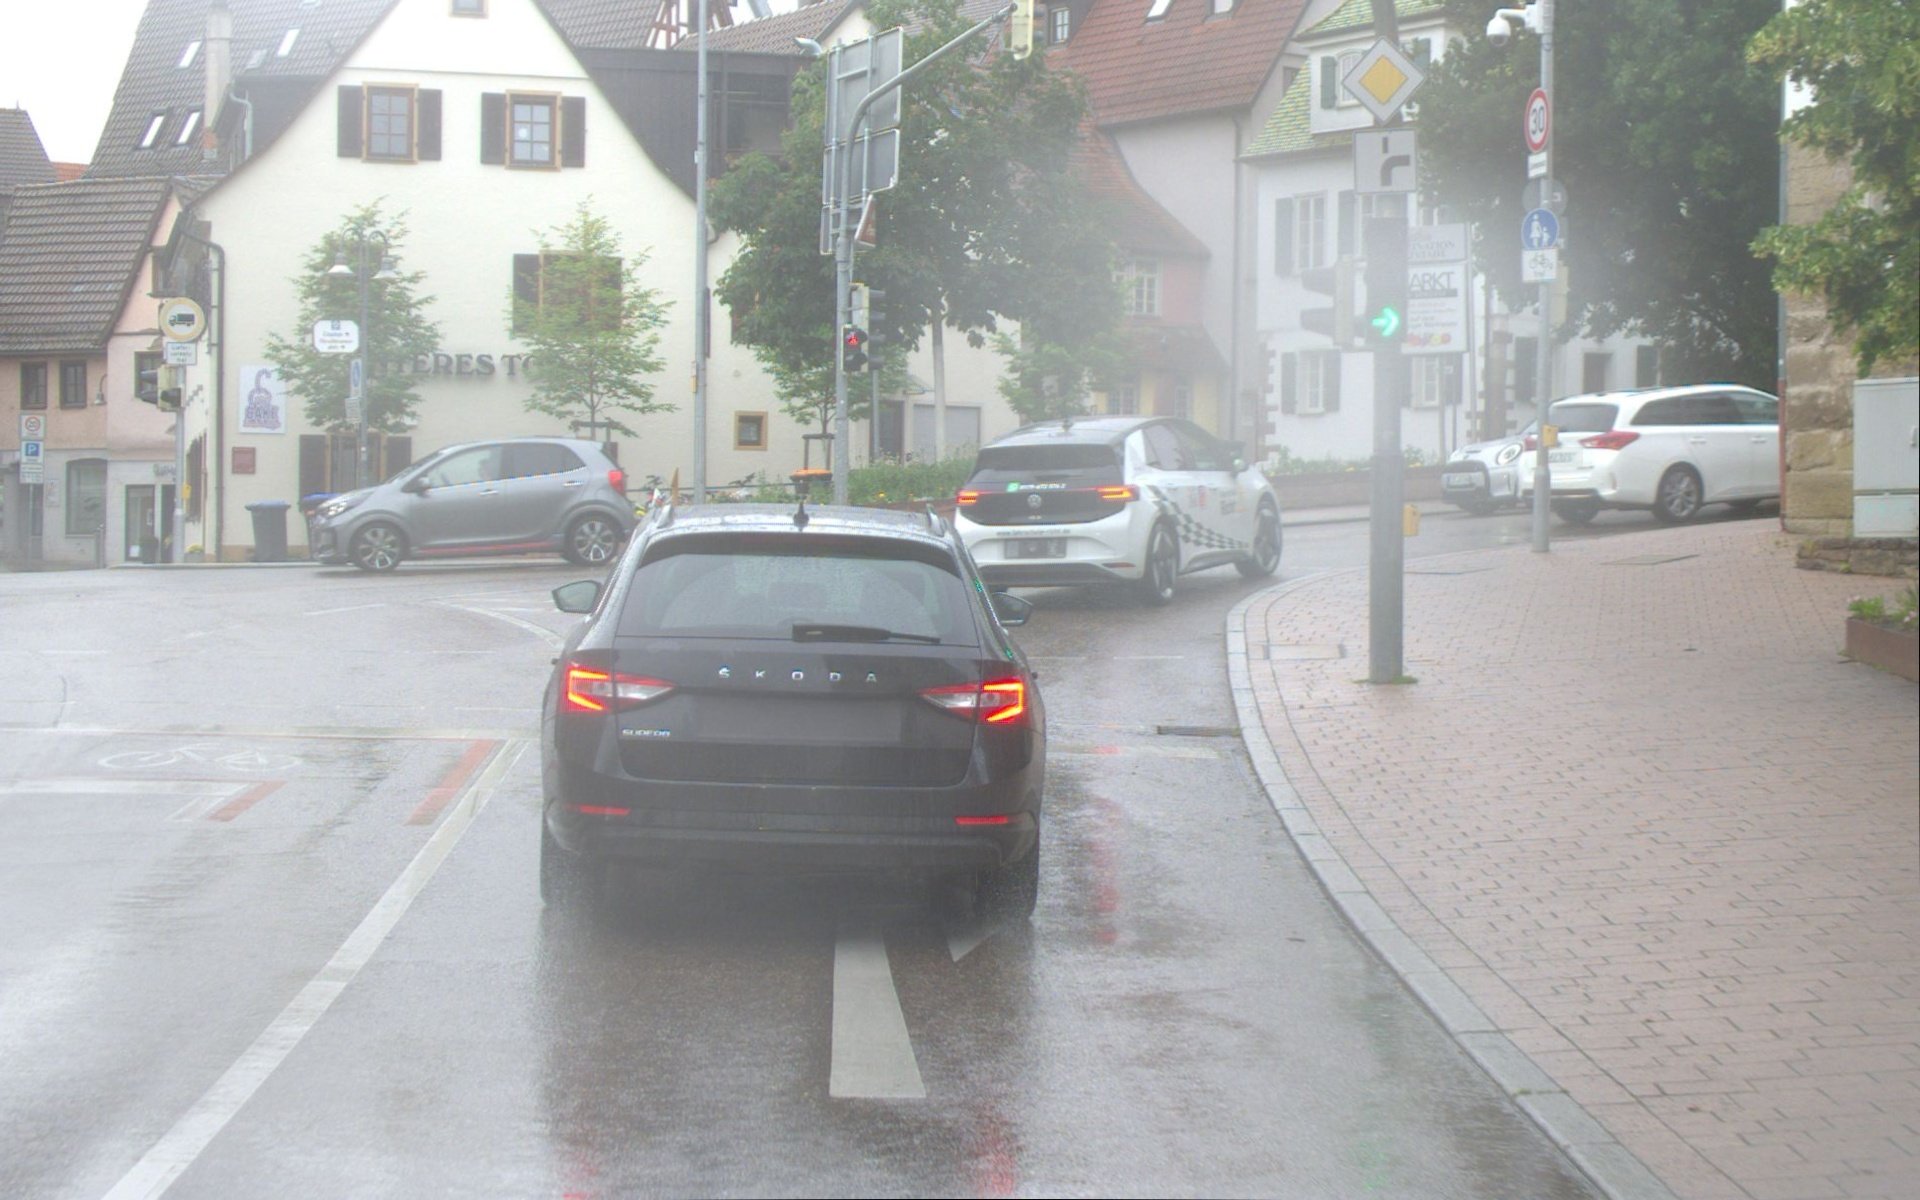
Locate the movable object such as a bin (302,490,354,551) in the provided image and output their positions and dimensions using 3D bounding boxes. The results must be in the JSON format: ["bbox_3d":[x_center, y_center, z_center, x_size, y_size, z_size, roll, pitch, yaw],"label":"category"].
[{"bbox_3d":[-9.456,-1.185,51.431,0.586,0.898,0.584,-1,3,-33],"label":"movable object such as a bin"}]

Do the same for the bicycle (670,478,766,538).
[{"bbox_3d":[-3.767,-1.442,53.578,1.465,0.909,0.393,-1,5,-34],"label":"bicycle"}]

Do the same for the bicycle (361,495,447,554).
[{"bbox_3d":[-8.169,-1.116,50.519,0.338,0.815,1.434,5,5,35],"label":"bicycle"}]

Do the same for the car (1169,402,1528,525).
[{"bbox_3d":[4.805,-1.679,42.775,3.986,1.426,2.001,1,1,-12],"label":"car"}]

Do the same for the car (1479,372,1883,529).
[{"bbox_3d":[7.989,-1.616,37.996,4.312,1.590,1.891,0,2,-35],"label":"car"}]

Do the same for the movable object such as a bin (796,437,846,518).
[{"bbox_3d":[-2.238,-1.974,55.334,0.683,1.272,0.749,2,2,-8],"label":"movable object such as a bin"}]

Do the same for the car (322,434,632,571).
[{"bbox_3d":[-5.472,-1.093,38.820,3.378,1.472,1.536,1,1,-11],"label":"car"}]

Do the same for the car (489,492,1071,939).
[{"bbox_3d":[-0.660,0.329,13.459,1.886,1.443,4.357,1,1,-2],"label":"car"}]

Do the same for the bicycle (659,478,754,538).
[{"bbox_3d":[-3.974,-1.447,53.950,1.465,0.909,0.393,-1,5,-34],"label":"bicycle"}]

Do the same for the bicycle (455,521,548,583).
[{"bbox_3d":[-6.890,-0.722,51.698,0.392,0.909,1.466,2,2,44],"label":"bicycle"}]

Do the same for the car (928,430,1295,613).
[{"bbox_3d":[1.391,-0.680,29.827,1.859,1.468,3.995,1,1,23],"label":"car"}]
